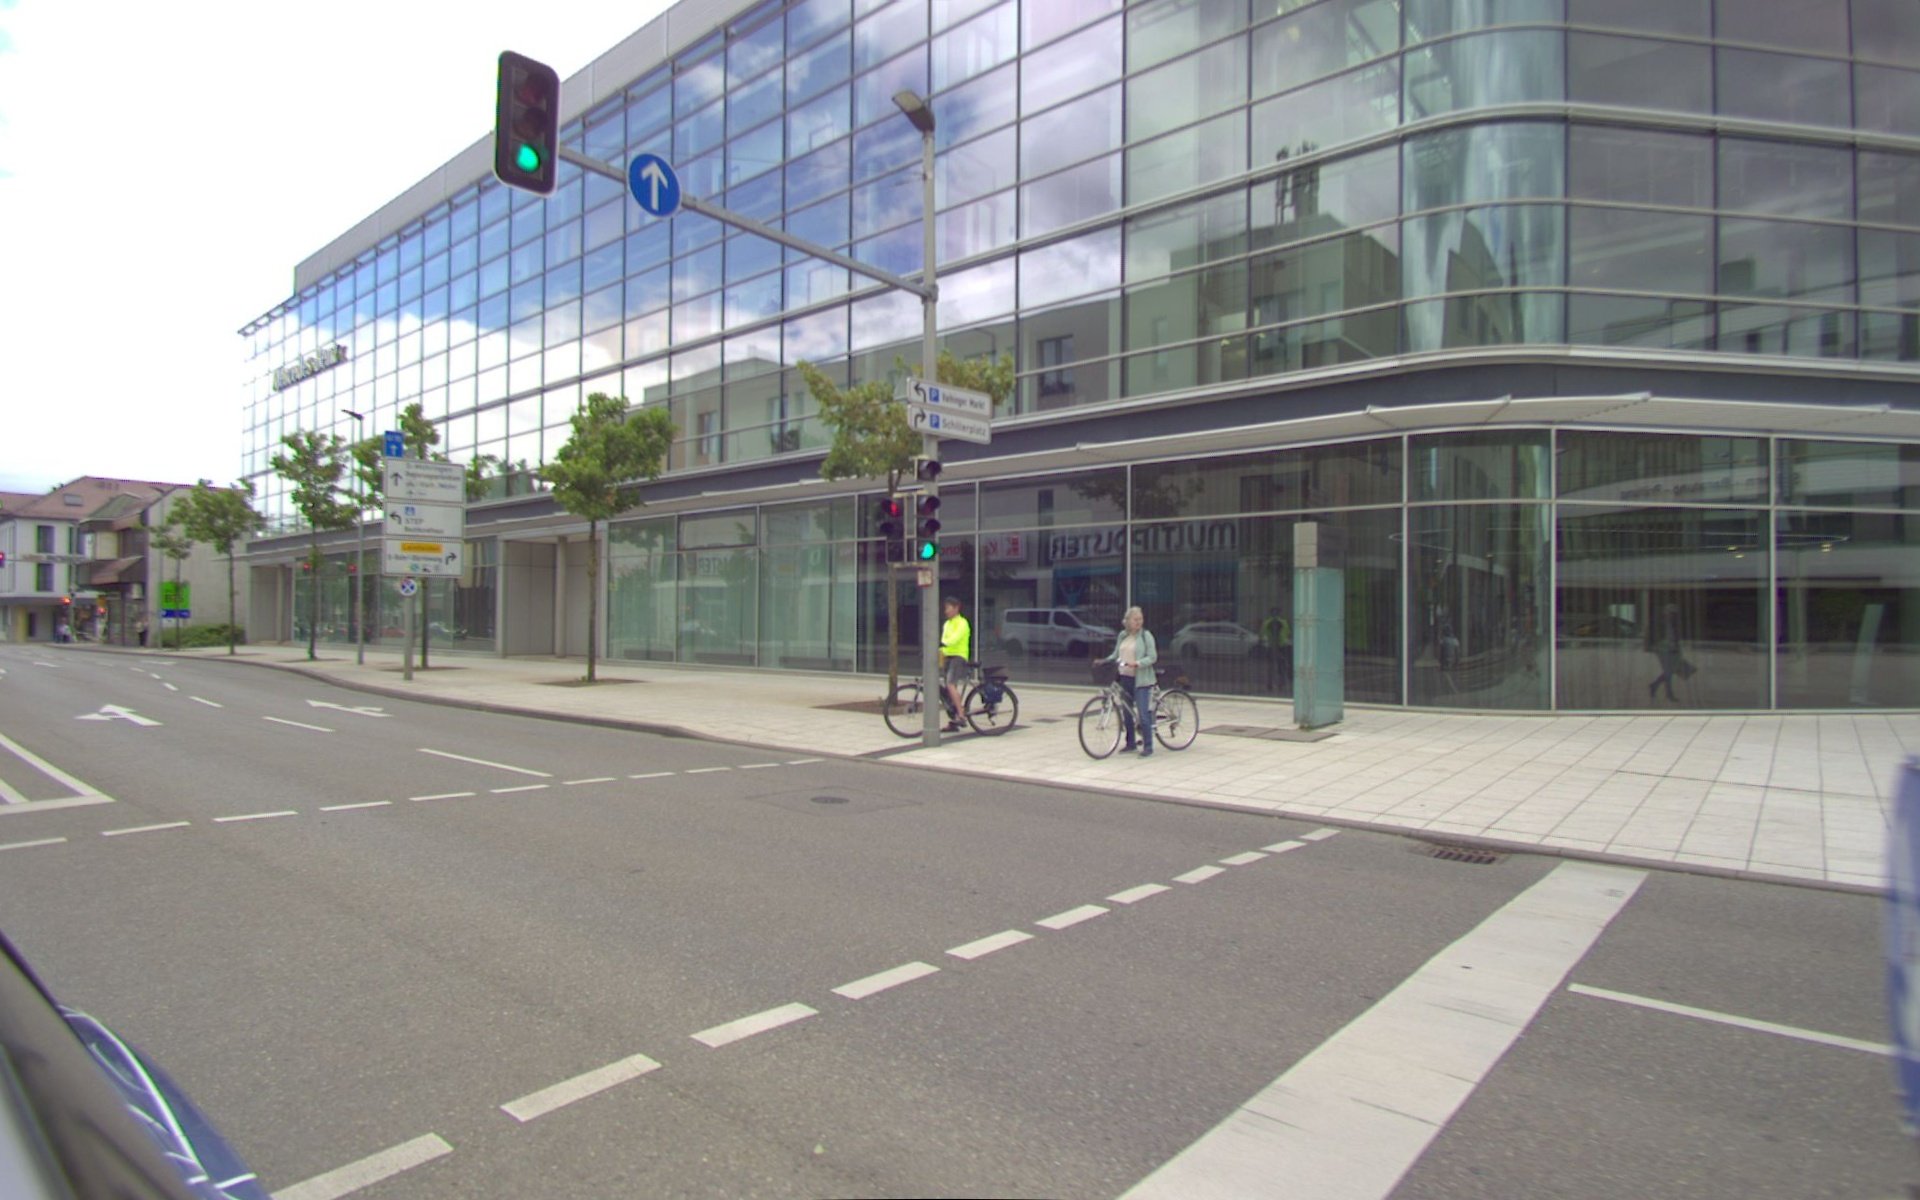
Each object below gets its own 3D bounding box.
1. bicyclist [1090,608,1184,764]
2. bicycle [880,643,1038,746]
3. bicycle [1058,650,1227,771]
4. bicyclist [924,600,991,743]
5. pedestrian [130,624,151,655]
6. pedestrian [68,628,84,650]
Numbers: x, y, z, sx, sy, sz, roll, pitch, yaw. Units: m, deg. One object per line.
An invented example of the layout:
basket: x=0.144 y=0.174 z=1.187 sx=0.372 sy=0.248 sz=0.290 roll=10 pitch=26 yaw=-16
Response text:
bicyclist: x=1.986 y=0.930 z=11.372 sx=0.771 sy=1.661 sz=0.640 roll=-2 pitch=0 yaw=-34
bicycle: x=-0.037 y=1.230 z=13.385 sx=2.000 sy=1.215 sz=0.748 roll=-2 pitch=0 yaw=-5
bicycle: x=2.081 y=1.200 z=11.427 sx=1.973 sy=1.139 sz=0.640 roll=-2 pitch=0 yaw=-34
bicyclist: x=-0.048 y=0.923 z=13.401 sx=0.762 sy=1.813 sz=0.748 roll=-2 pitch=0 yaw=-5
pedestrian: x=-43.208 y=2.086 z=53.369 sx=0.693 sy=1.636 sz=0.693 roll=-2 pitch=-2 yaw=40
pedestrian: x=-61.123 y=2.705 z=69.983 sx=0.577 sy=1.527 sz=0.552 roll=0 pitch=-2 yaw=8
